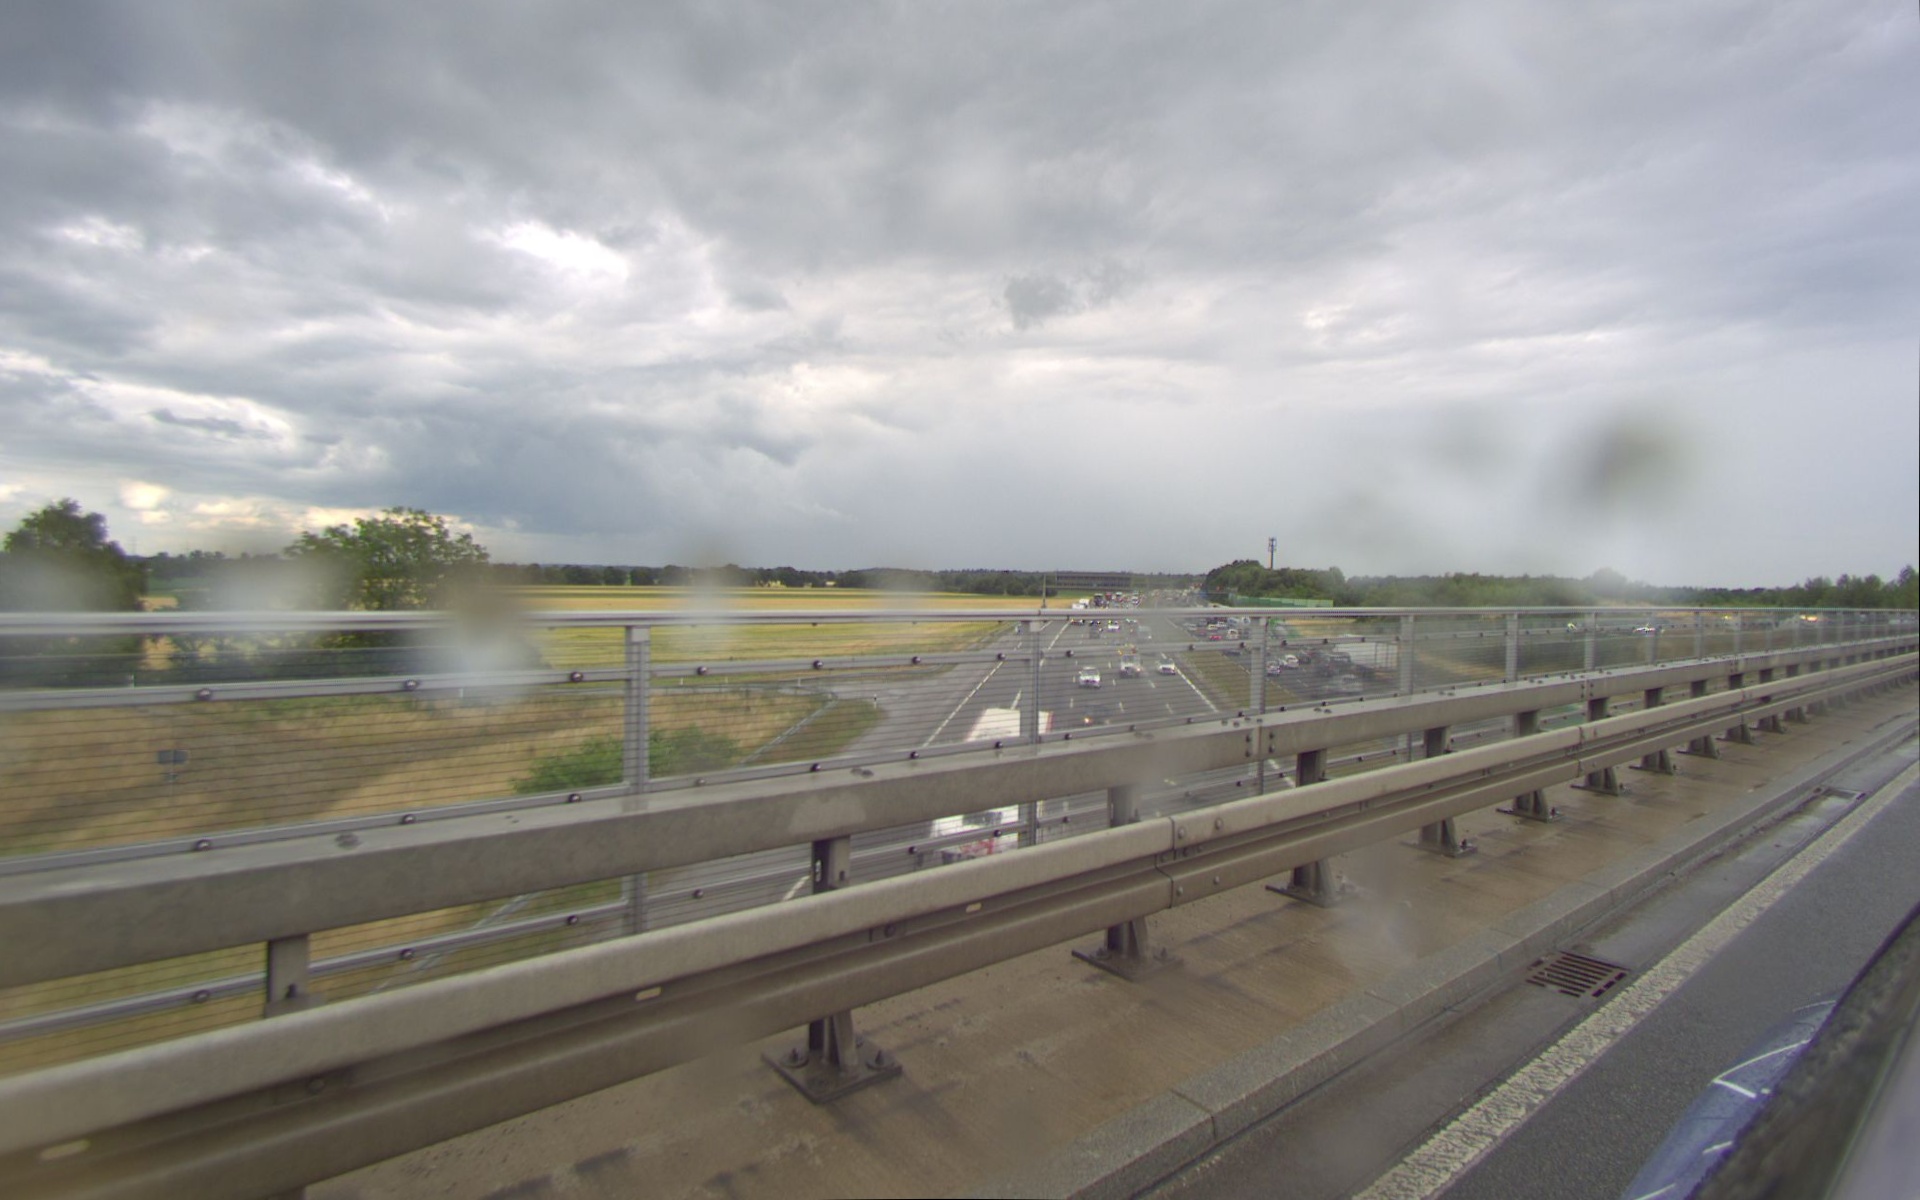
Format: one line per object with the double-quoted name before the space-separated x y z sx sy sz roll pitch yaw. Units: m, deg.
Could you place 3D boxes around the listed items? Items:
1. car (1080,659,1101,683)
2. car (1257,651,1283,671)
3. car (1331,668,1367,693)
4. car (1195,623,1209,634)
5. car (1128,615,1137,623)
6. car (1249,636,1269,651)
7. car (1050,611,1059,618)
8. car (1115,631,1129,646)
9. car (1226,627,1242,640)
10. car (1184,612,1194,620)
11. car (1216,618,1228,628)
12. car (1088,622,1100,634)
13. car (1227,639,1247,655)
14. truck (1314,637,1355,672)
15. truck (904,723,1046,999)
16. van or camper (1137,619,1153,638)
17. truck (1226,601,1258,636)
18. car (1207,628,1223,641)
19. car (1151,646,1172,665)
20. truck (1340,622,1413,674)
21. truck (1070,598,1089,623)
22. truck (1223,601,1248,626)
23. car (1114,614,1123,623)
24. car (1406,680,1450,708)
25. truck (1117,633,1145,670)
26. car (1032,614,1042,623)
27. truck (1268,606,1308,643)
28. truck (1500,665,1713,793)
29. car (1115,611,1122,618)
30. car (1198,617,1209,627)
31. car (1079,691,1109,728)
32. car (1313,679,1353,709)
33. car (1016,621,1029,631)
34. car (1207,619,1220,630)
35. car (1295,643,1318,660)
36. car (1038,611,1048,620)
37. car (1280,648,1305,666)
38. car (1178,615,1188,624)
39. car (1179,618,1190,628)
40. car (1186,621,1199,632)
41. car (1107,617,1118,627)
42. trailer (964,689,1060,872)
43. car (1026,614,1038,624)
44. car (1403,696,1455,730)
"car" 11.150 6.021 86.230 1.784 1.690 4.713 0 0 8
"car" 30.871 6.076 100.941 1.826 1.690 4.713 0 0 9
"car" 33.230 6.879 86.523 1.826 1.690 4.713 0 0 9
"car" 39.961 4.733 167.169 1.826 1.690 4.713 0 0 9
"car" 36.579 4.001 214.379 1.826 1.690 4.713 0 0 9
"car" 39.503 5.751 133.797 1.826 1.690 4.713 0 0 9
"car" 21.599 3.216 230.585 1.784 1.454 4.714 0 0 7
"car" 21.265 5.050 133.133 1.784 1.690 4.713 0 0 8
"car" 42.483 5.114 156.812 1.826 1.797 4.713 0 0 9
"car" 55.742 3.799 246.311 1.826 1.797 4.713 0 0 9
"car" 52.131 4.635 201.540 1.826 1.797 4.713 0 0 9
"car" 20.907 4.372 157.591 1.826 1.690 4.713 0 0 9
"car" 34.249 5.822 125.237 1.826 1.690 4.713 0 0 9
"truck" 38.591 5.531 104.549 2.175 3.003 9.285 0 0 8
"truck" 0.725 6.253 26.901 2.641 4.684 9.731 0 0 8
"van or camper" 27.433 4.220 149.971 2.026 2.481 7.312 0 0 9
"truck" 48.282 3.027 173.642 3.241 5.511 15.595 0 0 8
"car" 37.397 5.103 148.485 1.826 1.690 4.713 0 0 9
"car" 20.452 5.599 102.871 1.784 1.690 4.713 0 0 8
"truck" 43.676 4.848 106.801 3.545 4.594 15.588 0 0 9
"truck" 24.421 2.052 206.210 2.751 4.962 12.711 0 0 12
"truck" 61.617 2.916 226.558 3.434 5.420 15.595 0 0 8
"car" 32.488 3.800 207.519 1.826 1.690 4.713 0 0 9
"car" 36.204 7.275 78.424 1.826 1.690 4.713 0 0 9
"truck" 16.757 4.976 99.391 2.553 3.219 8.375 0 0 9
"car" 14.978 3.567 196.002 1.784 1.454 4.714 0 0 7
"truck" 50.524 3.602 156.410 3.241 5.230 15.595 0 0 8
"truck" 33.337 6.327 53.541 3.545 4.594 15.588 0 0 9
"car" 39.049 3.514 249.603 1.826 1.690 4.713 0 0 9
"car" 49.482 4.420 205.991 1.826 1.797 4.713 0 0 9
"car" 8.209 6.652 61.876 1.784 1.690 4.713 0 0 8
"car" 27.493 6.897 74.724 1.826 1.690 4.713 0 0 9
"car" 9.892 4.063 160.872 1.784 1.454 4.714 0 0 7
"car" 46.493 4.522 185.498 1.826 1.797 4.713 0 0 9
"car" 41.099 6.073 120.156 1.826 1.690 4.713 0 0 9
"car" 17.526 3.305 213.382 1.826 1.690 4.713 0 0 9
"car" 36.610 6.210 111.402 1.826 1.690 4.713 0 0 9
"car" 47.042 4.101 213.478 1.826 1.797 4.713 0 0 9
"car" 43.863 4.500 197.744 1.826 1.797 4.713 0 0 9
"car" 40.659 4.554 176.929 1.826 1.797 4.713 0 0 9
"car" 27.650 3.931 183.346 1.826 1.690 4.713 0 0 9
"trailer" 2.095 6.049 36.492 2.641 4.687 9.887 0 0 8
"car" 12.711 3.331 177.929 1.826 1.690 4.713 0 0 9
"car" 31.110 7.480 67.277 1.826 1.690 4.713 0 0 9
